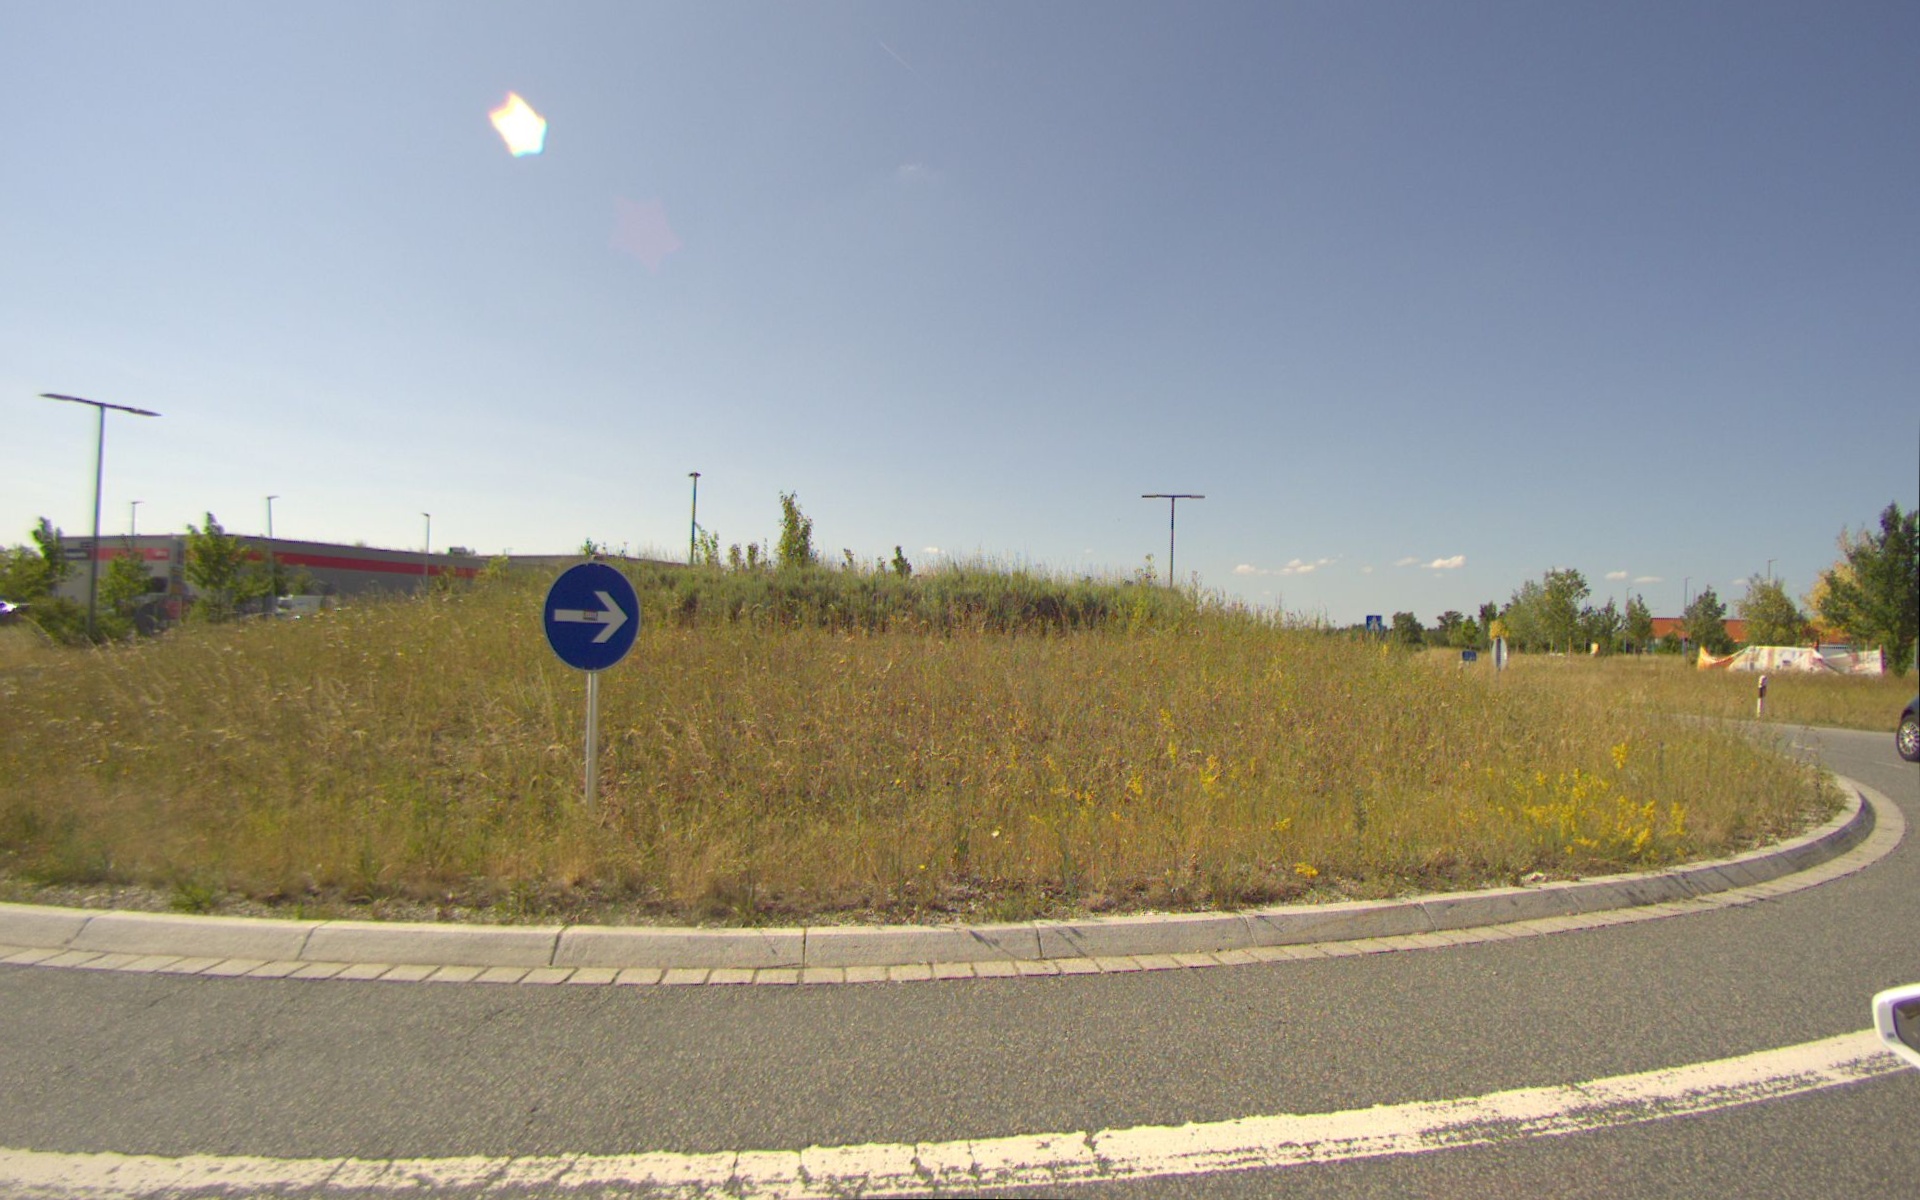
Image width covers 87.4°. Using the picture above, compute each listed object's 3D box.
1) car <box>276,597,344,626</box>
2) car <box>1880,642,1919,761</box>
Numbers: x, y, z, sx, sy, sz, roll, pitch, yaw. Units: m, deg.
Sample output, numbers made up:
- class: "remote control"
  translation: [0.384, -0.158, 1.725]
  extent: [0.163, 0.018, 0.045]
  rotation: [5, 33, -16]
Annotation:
- class: "car"
  translation: [-49.891, 0.899, 77.168]
  extent: [1.961, 2.040, 4.000]
  rotation: [1, -2, 21]
- class: "car"
  translation: [12.616, 1.296, 11.770]
  extent: [1.614, 1.507, 3.901]
  rotation: [2, -1, 26]
